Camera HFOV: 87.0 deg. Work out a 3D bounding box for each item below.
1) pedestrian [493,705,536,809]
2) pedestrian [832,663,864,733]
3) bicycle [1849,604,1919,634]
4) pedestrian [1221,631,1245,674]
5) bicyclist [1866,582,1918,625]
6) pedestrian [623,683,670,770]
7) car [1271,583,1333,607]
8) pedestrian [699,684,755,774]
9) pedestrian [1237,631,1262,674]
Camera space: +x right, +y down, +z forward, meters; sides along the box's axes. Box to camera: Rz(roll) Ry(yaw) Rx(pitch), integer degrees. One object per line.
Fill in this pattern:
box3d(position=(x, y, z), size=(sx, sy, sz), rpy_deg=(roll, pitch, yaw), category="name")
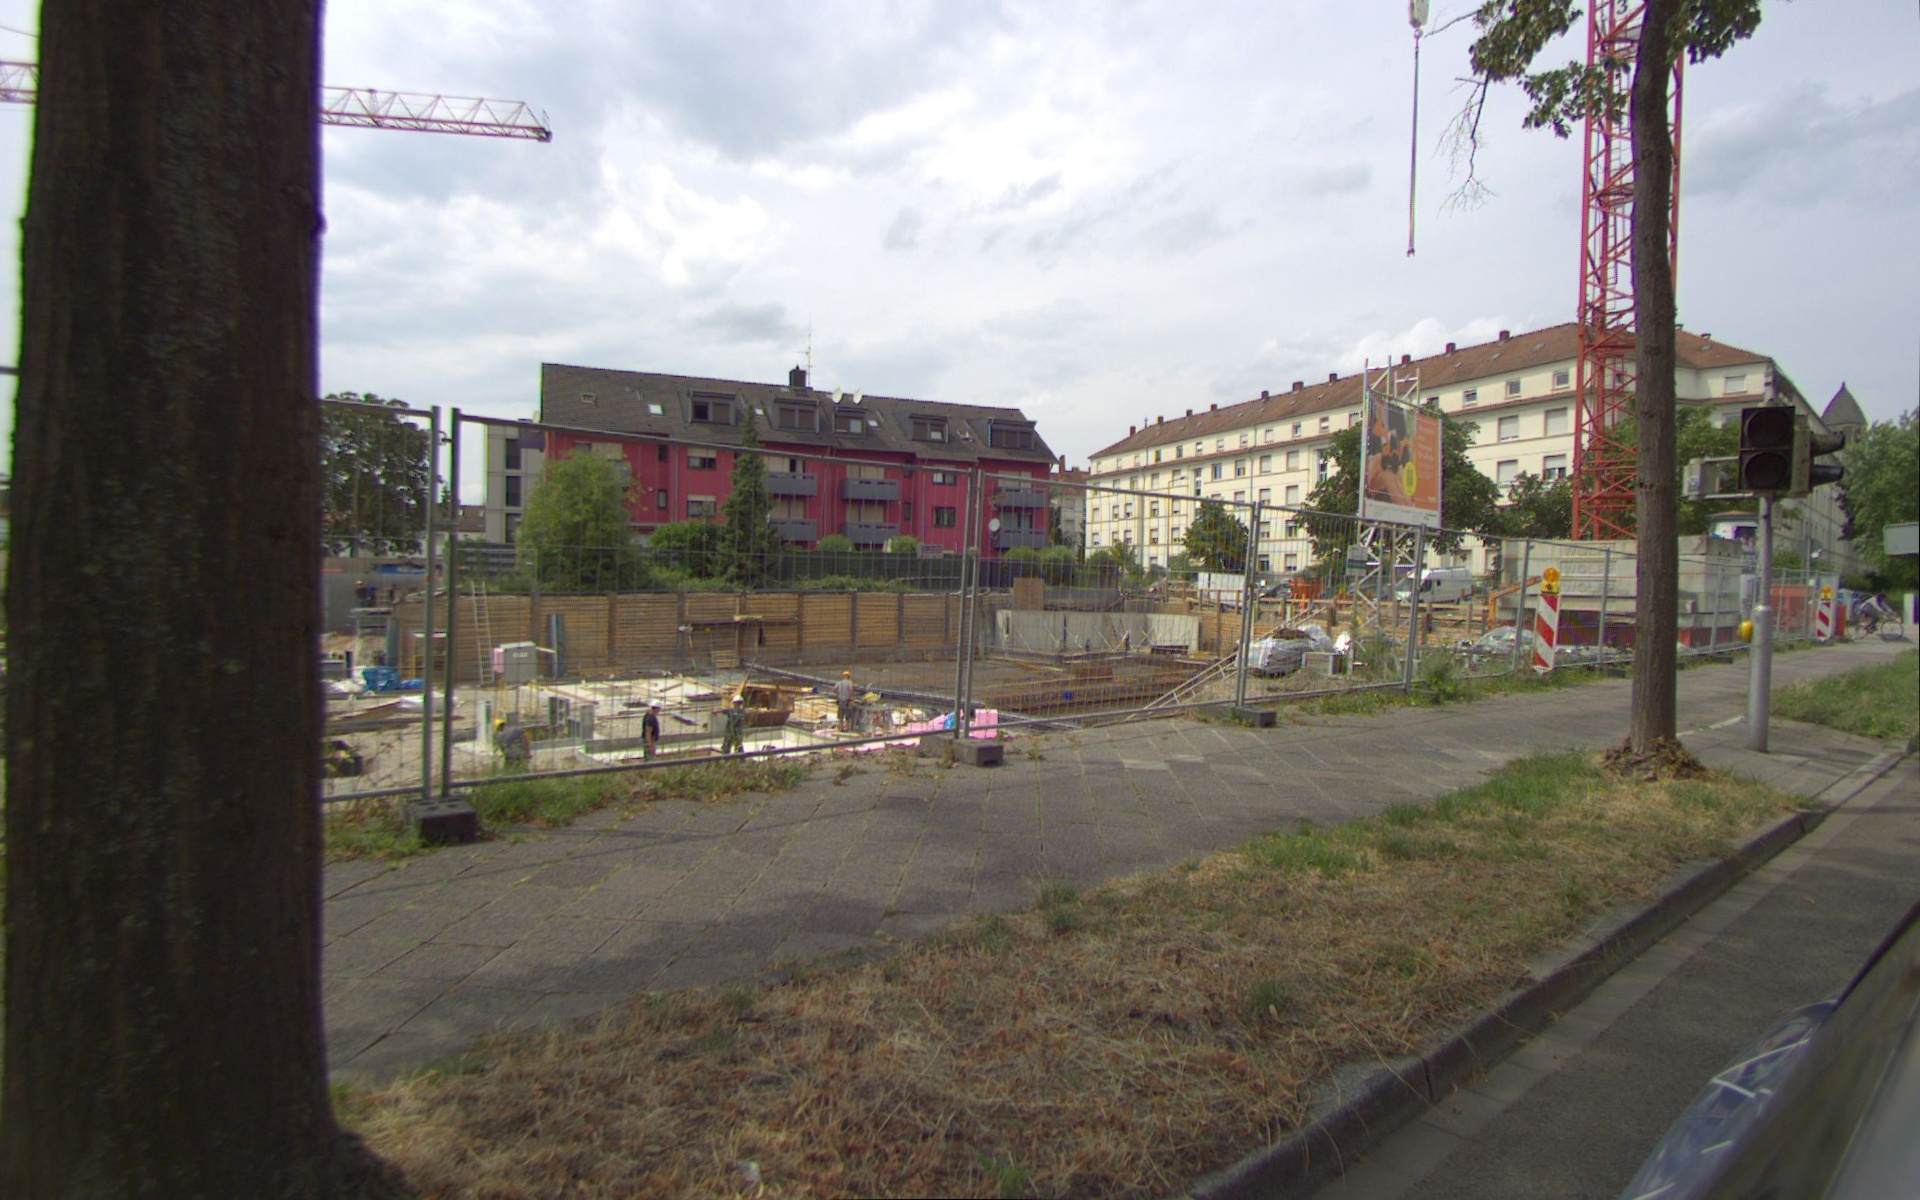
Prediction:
box3d(position=(-8.291, 2.900, 18.830), size=(0.705, 1.743, 0.847), rpy_deg=(1, 3, -24), category="pedestrian")
box3d(position=(-3.031, 2.651, 27.478), size=(0.707, 1.743, 0.845), rpy_deg=(2, 2, 2), category="pedestrian")
box3d(position=(31.657, 0.648, 34.226), size=(0.700, 0.945, 2.483), rpy_deg=(1, 0, -9), category="bicycle")
box3d(position=(11.875, 2.267, 43.984), size=(0.706, 1.743, 0.846), rpy_deg=(2, 2, -3), category="pedestrian")
box3d(position=(31.647, 0.125, 34.364), size=(0.700, 1.431, 1.082), rpy_deg=(1, -2, -8), category="bicyclist")
box3d(position=(-6.744, 2.716, 21.814), size=(0.828, 1.743, 0.722), rpy_deg=(1, 2, -6), category="pedestrian")
box3d(position=(24.162, -0.358, 71.426), size=(3.837, 1.609, 1.803), rpy_deg=(-1, 0, -20), category="car")
box3d(position=(-4.974, 2.743, 21.663), size=(0.965, 1.743, 0.845), rpy_deg=(2, 2, 2), category="pedestrian")
box3d(position=(12.604, 2.284, 44.076), size=(0.706, 1.743, 0.846), rpy_deg=(2, 2, -3), category="pedestrian")
